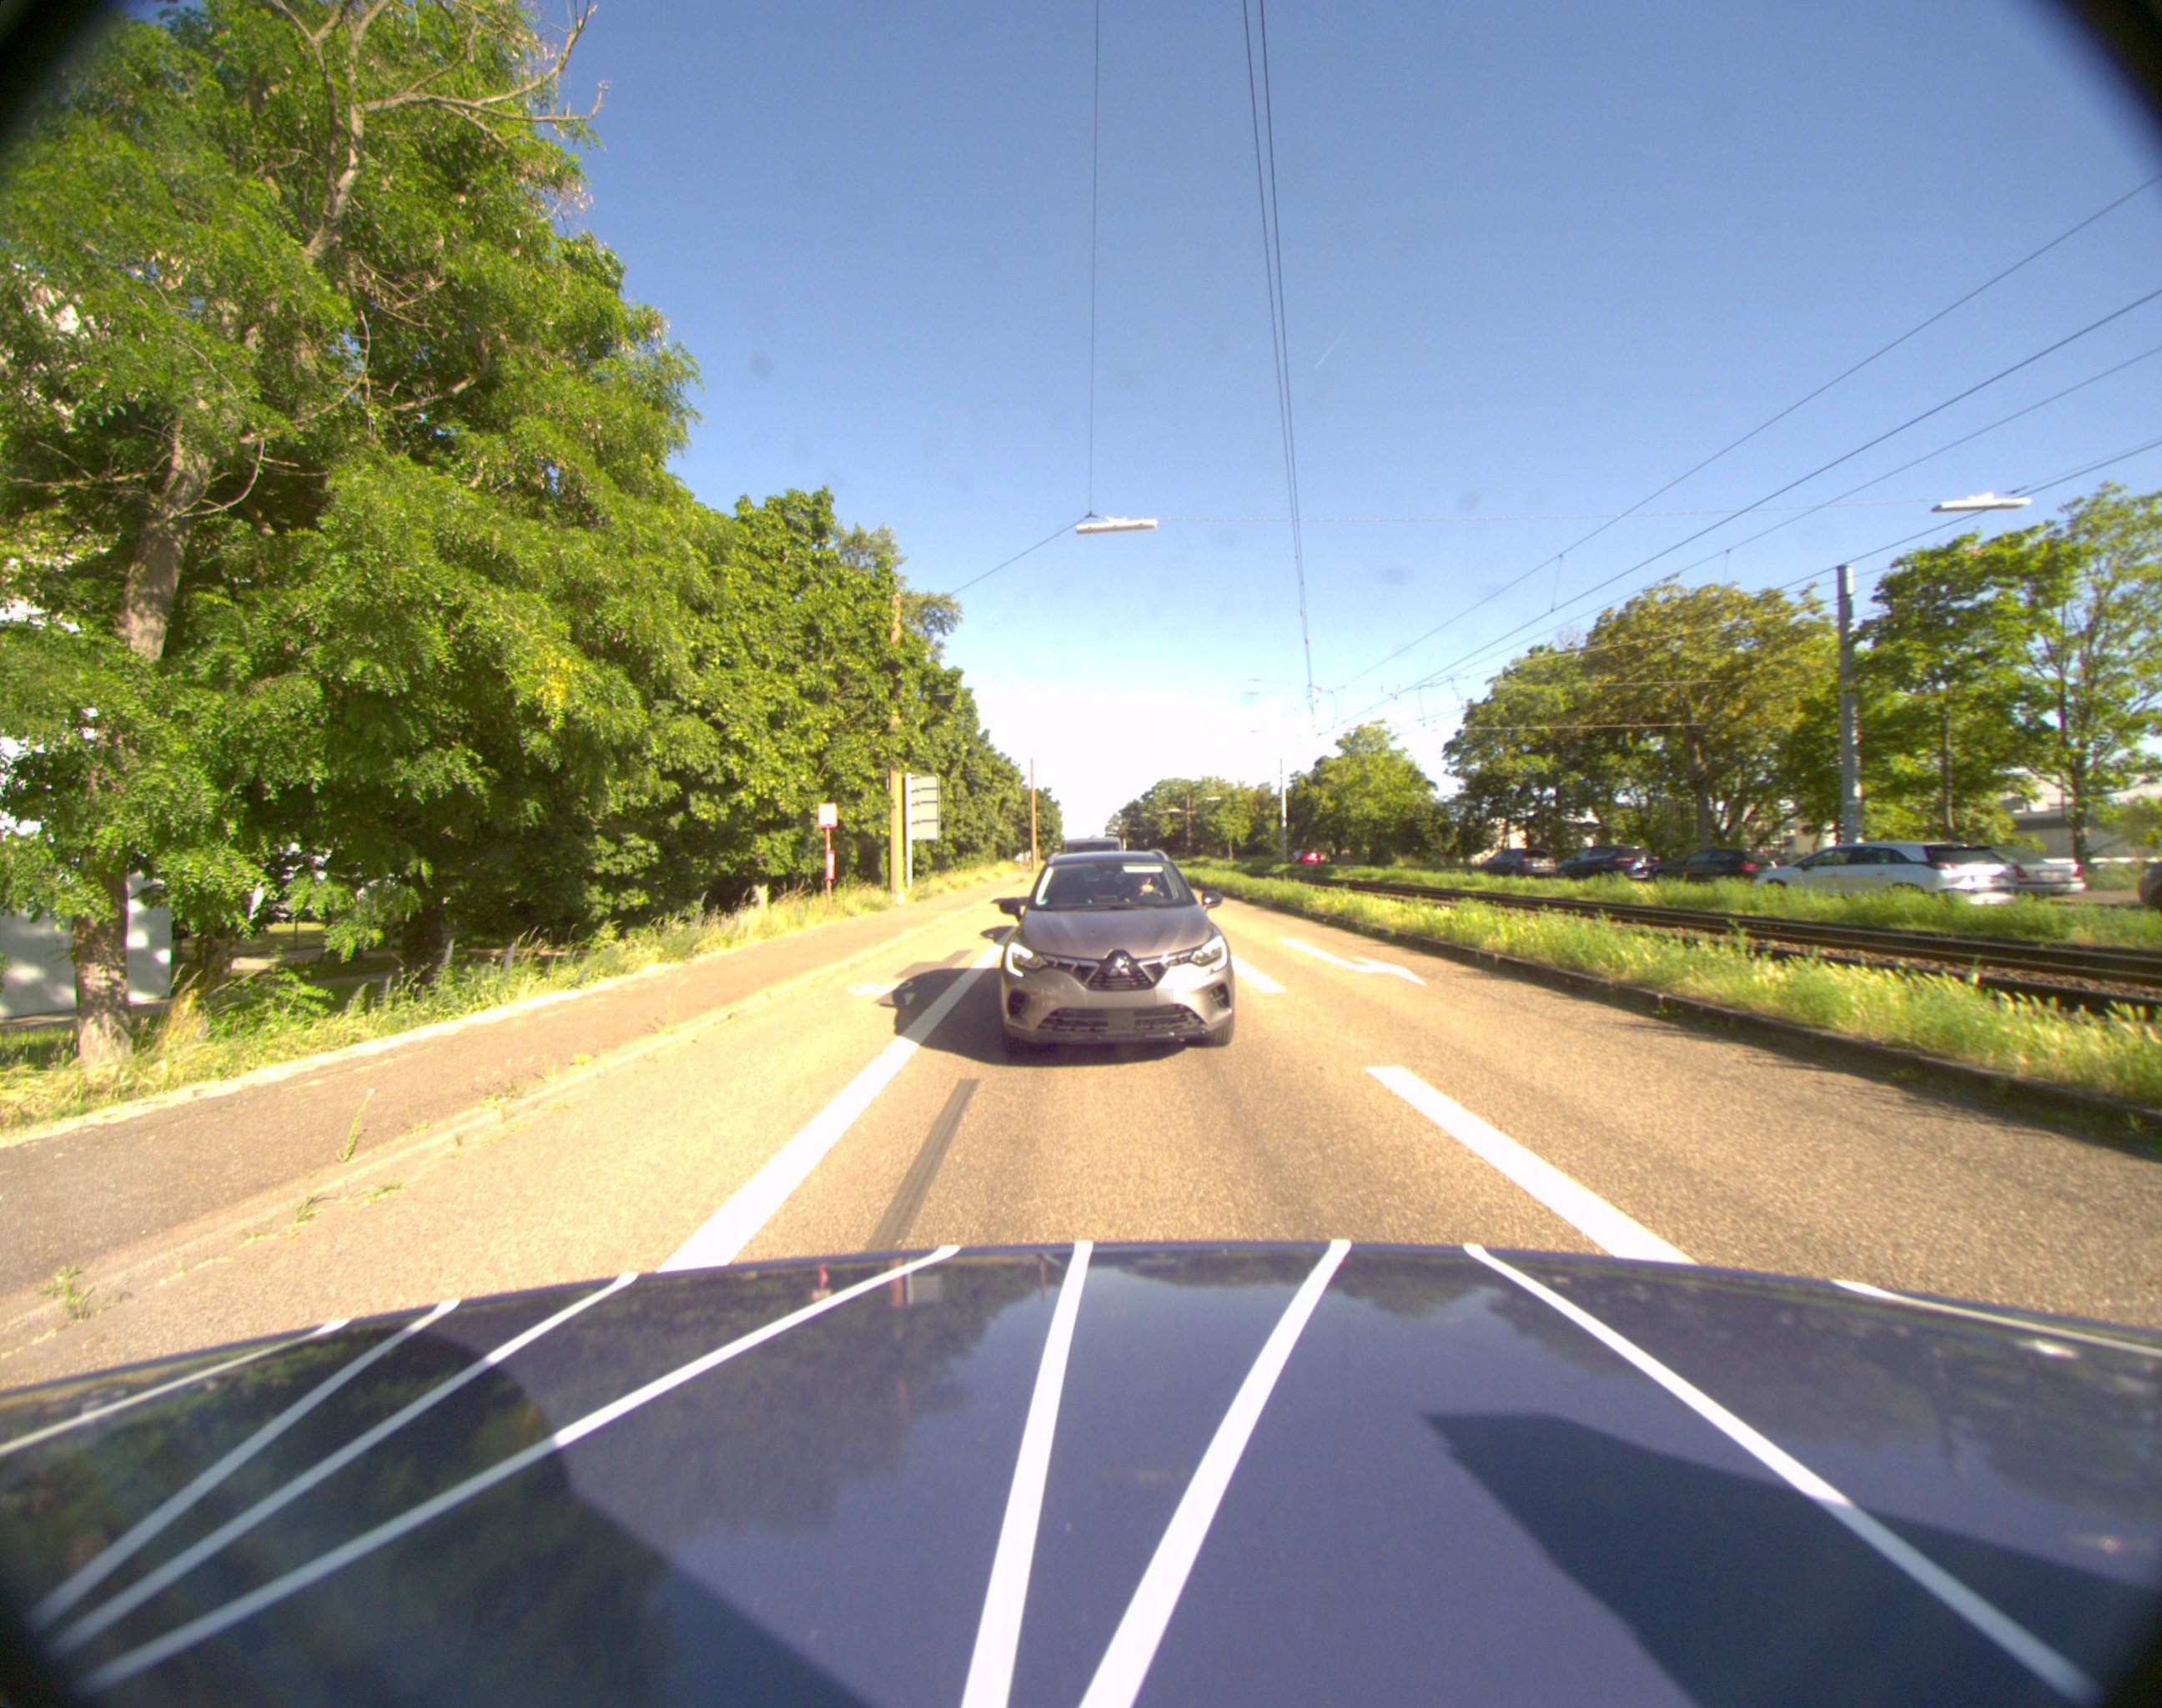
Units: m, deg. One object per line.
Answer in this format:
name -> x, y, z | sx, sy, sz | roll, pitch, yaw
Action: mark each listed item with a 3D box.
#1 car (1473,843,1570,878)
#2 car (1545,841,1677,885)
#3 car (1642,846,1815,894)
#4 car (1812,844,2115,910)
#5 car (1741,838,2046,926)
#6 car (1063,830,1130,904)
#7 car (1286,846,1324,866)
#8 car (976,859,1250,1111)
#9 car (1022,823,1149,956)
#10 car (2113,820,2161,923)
car -> 21.558, 0.331, 37.411 | 2.130, 1.554, 4.560 | -2, 0, 0
car -> 21.300, 0.347, 30.828 | 2.130, 1.578, 4.616 | -2, 0, 1
car -> 21.338, 0.493, 25.331 | 1.960, 1.417, 4.488 | -2, 0, 1
car -> 21.539, 0.509, 18.937 | 2.130, 1.372, 4.616 | -2, 0, -1
car -> 16.706, 0.524, 16.004 | 1.860, 1.548, 4.155 | -2, 0, -3
car -> 0.432, 0.428, 25.433 | 1.999, 2.198, 4.786 | -1, -1, -1
car -> 20.992, 0.191, 71.470 | 2.321, 1.723, 4.798 | -2, 0, 3
car -> 0.175, 0.885, 7.319 | 1.796, 1.583, 4.529 | -1, 0, -1
car -> 0.103, 0.591, 14.400 | 1.998, 2.113, 4.000 | -2, 0, 1
car -> 21.236, 0.286, 12.495 | 2.207, 1.923, 4.685 | -2, 0, 2
